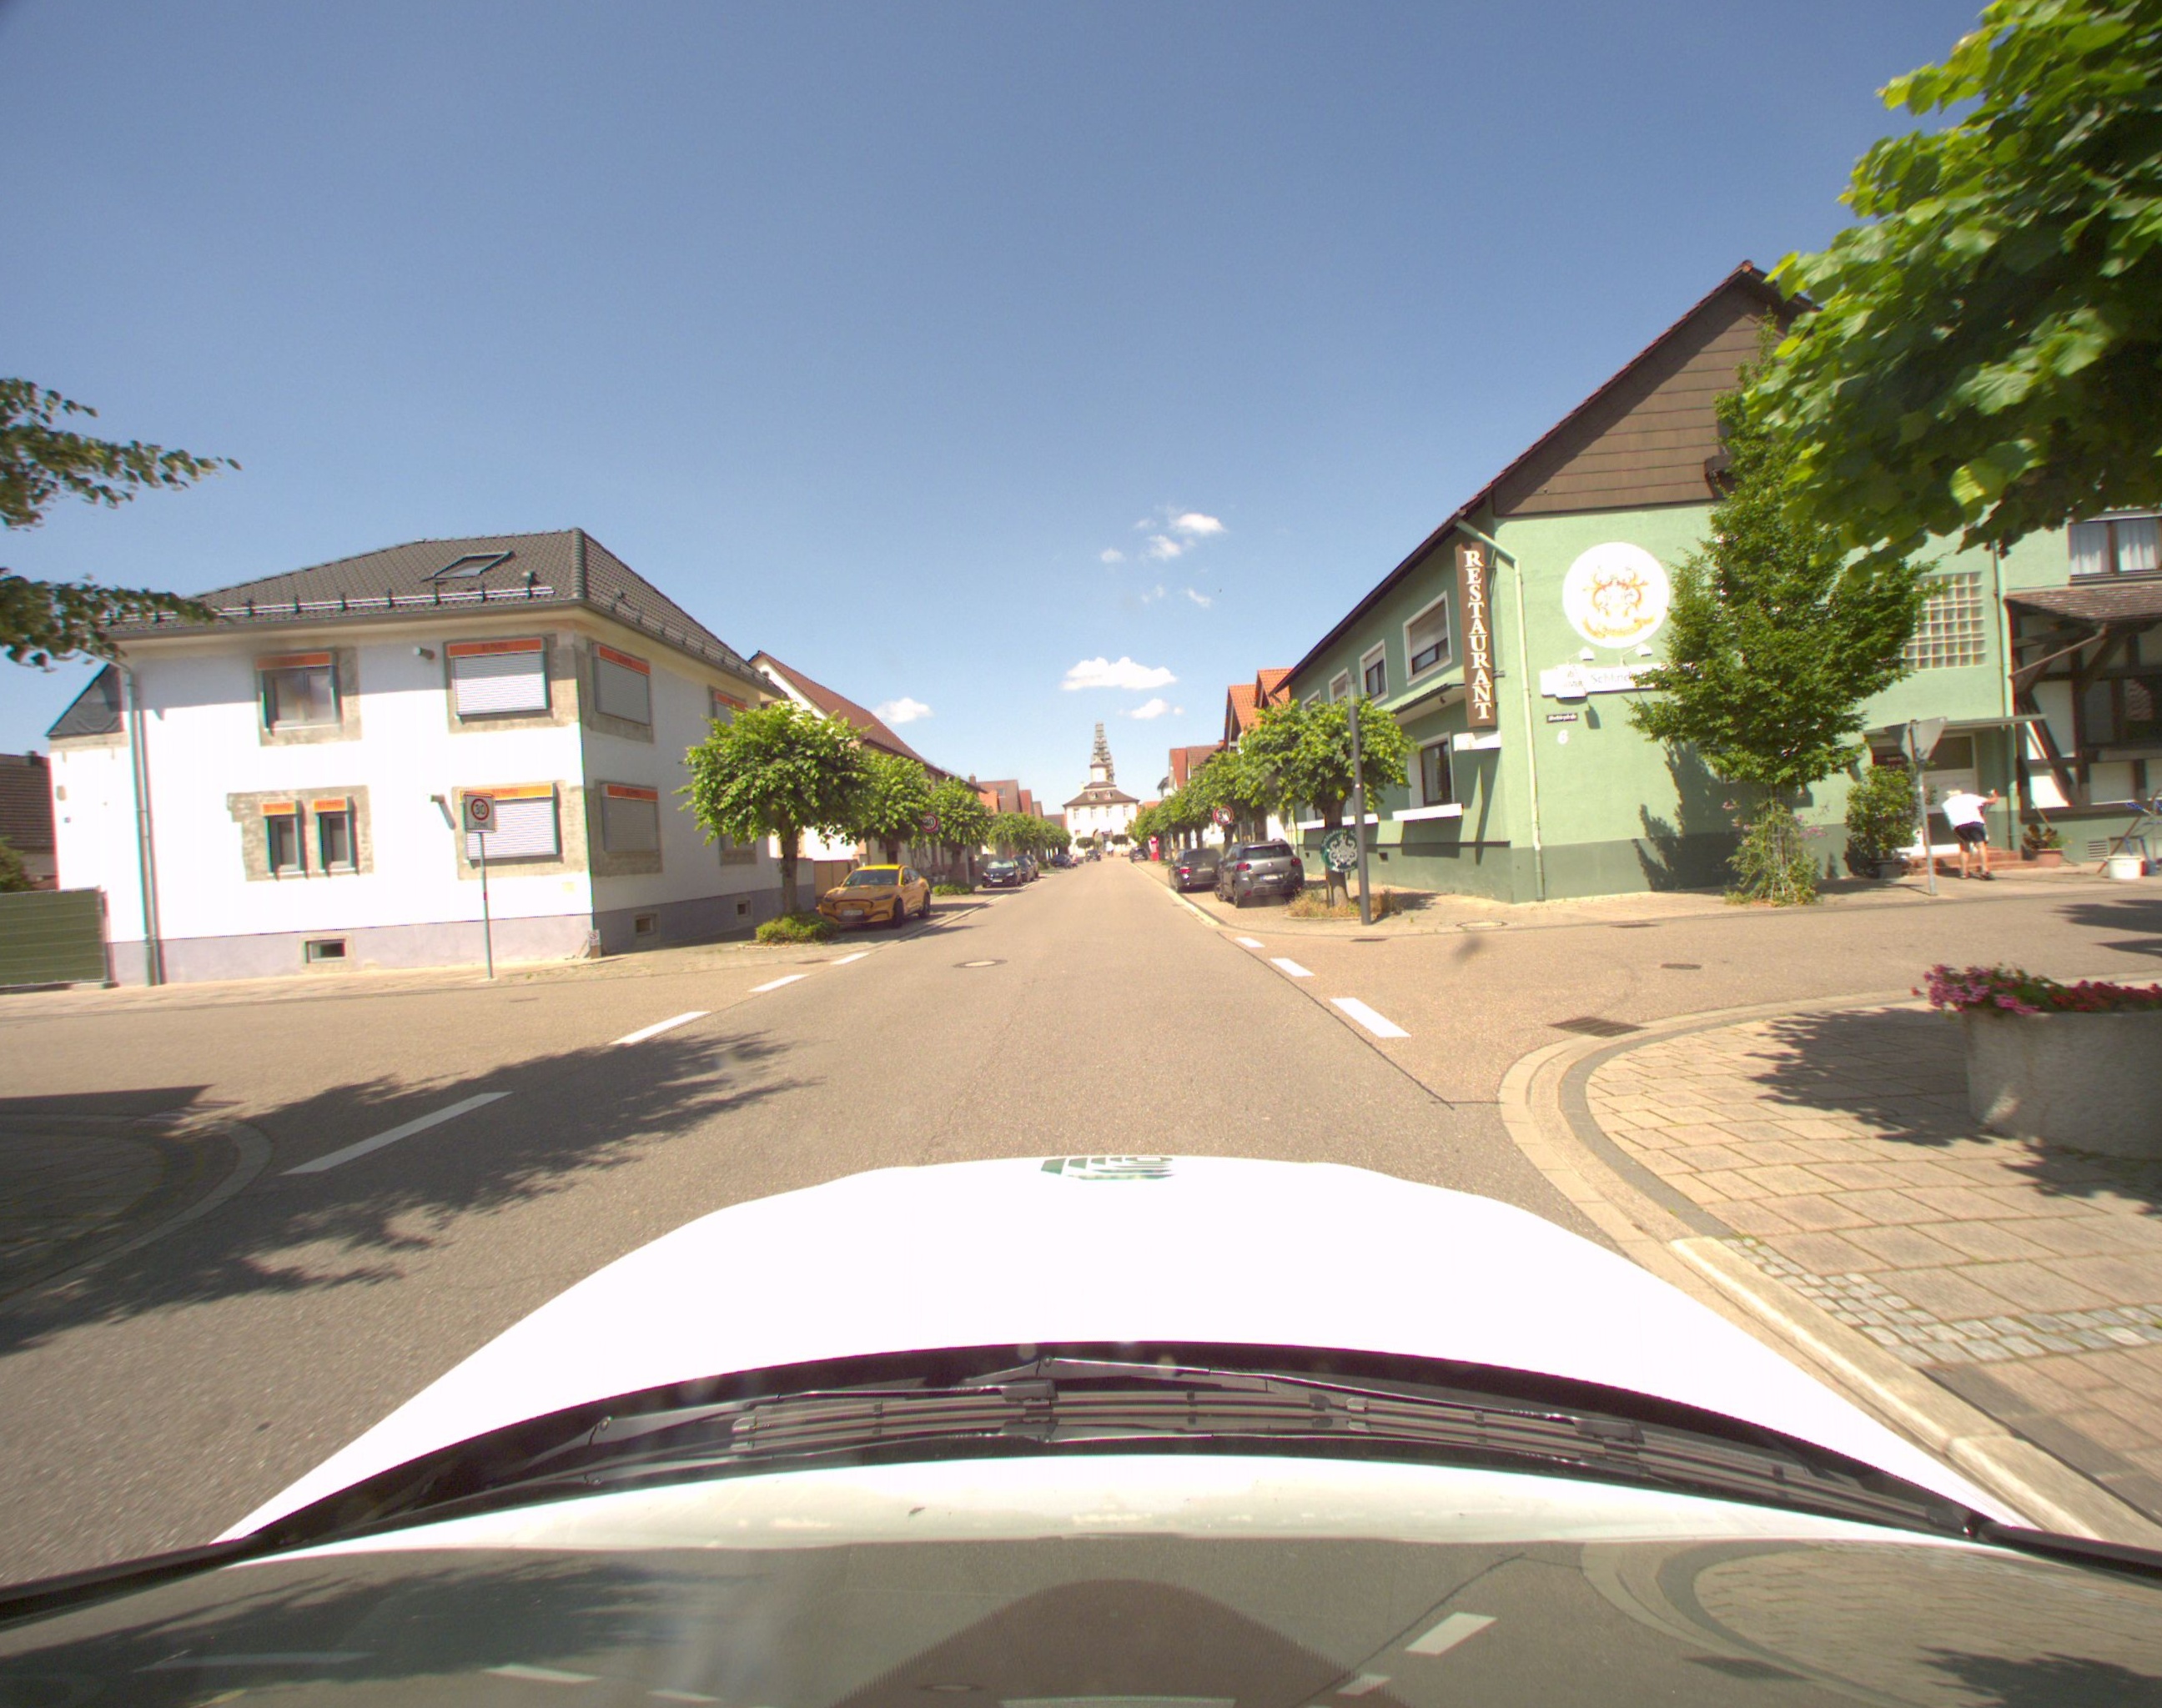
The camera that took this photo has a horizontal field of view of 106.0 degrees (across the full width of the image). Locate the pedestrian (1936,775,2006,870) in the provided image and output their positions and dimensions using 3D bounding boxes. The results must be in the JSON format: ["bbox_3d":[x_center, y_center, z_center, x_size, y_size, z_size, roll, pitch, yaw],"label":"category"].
[{"bbox_3d":[15.224,-0.523,13.941,0.543,1.570,0.545,-2,-1,-2],"label":"pedestrian"}]

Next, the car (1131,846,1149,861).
[{"bbox_3d":[6.673,-0.087,92.073,1.830,1.555,4.316,-6,0,3],"label":"car"}]

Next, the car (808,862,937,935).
[{"bbox_3d":[-5.462,1.099,22.067,1.985,1.611,4.693,-2,0,3],"label":"car"}]

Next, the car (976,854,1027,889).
[{"bbox_3d":[-4.178,0.910,43.475,1.985,1.611,4.693,-2,1,3],"label":"car"}]

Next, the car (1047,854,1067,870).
[{"bbox_3d":[-2.515,0.809,86.354,1.750,1.555,4.023,-4,0,3],"label":"car"}]

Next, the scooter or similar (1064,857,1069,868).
[{"bbox_3d":[-1.418,0.799,77.275,0.326,1.003,0.243,-4,0,39],"label":"scooter or similar"}]

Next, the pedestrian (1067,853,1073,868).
[{"bbox_3d":[-1.033,0.591,77.510,0.354,1.403,0.322,-4,0,39],"label":"pedestrian"}]

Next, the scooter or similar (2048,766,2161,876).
[{"bbox_3d":[16.894,-0.551,13.161,1.088,1.646,1.194,-4,3,6],"label":"scooter or similar"}]

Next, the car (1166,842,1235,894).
[{"bbox_3d":[4.156,0.444,28.961,1.831,1.555,4.315,-6,0,2],"label":"car"}]

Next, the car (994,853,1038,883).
[{"bbox_3d":[-3.867,0.820,49.202,1.985,1.611,4.692,-2,-1,3],"label":"car"}]

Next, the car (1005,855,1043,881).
[{"bbox_3d":[-3.890,0.936,56.177,1.985,1.611,4.693,-4,0,3],"label":"car"}]

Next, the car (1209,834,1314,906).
[{"bbox_3d":[4.636,0.375,21.461,1.831,1.607,4.000,-4,0,1],"label":"car"}]

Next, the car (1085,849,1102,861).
[{"bbox_3d":[1.714,0.152,113.218,1.988,1.611,4.502,-2,-1,-2],"label":"car"}]

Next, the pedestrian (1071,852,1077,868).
[{"bbox_3d":[-0.651,0.568,76.661,0.354,1.403,0.322,-4,0,39],"label":"pedestrian"}]
